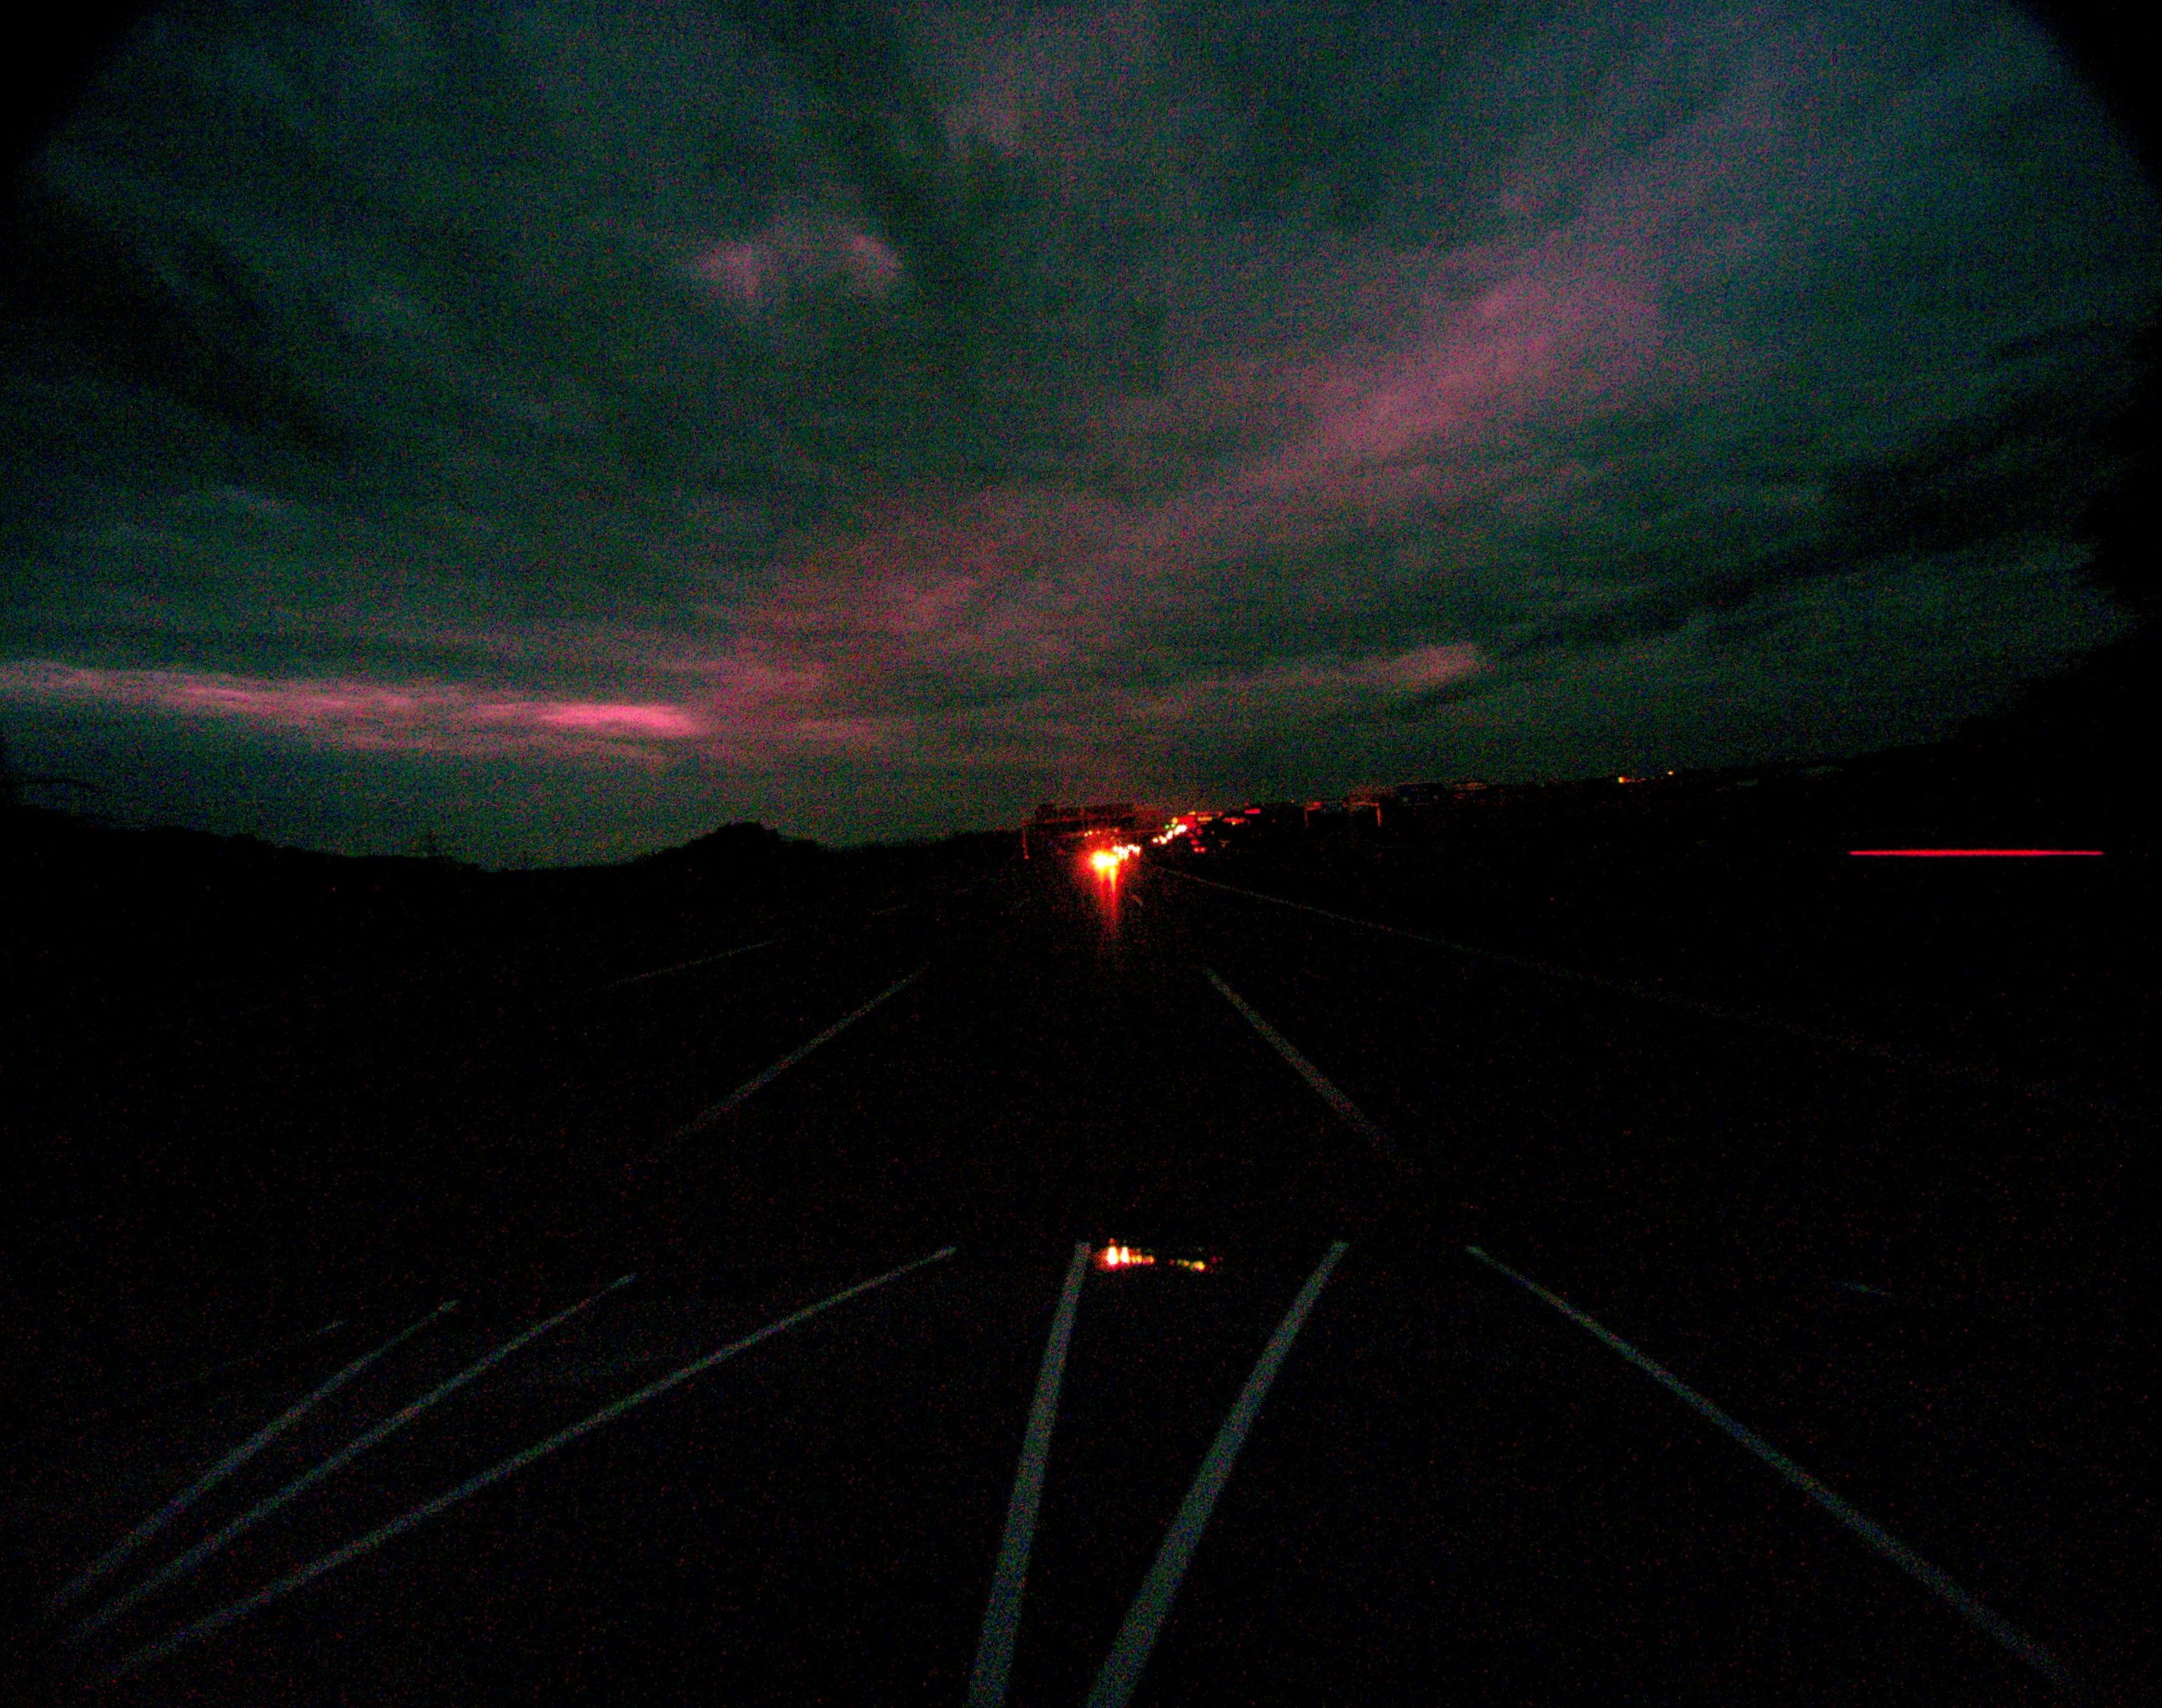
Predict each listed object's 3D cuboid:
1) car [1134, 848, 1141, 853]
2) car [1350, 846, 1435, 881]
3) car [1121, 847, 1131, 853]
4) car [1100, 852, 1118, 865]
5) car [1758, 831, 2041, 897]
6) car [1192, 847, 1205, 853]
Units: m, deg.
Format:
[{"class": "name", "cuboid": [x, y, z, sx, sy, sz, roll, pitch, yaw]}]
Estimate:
[{"class": "car", "cuboid": [19.235, -1.185, 257.410, 1.998, 1.342, 4.176, -4, 1, 7]}, {"class": "car", "cuboid": [13.931, 0.392, 34.306, 1.999, 1.395, 4.329, -2, 0, 0]}, {"class": "car", "cuboid": [11.699, -1.097, 197.019, 1.997, 1.342, 4.177, -4, 1, 10]}, {"class": "car", "cuboid": [3.236, 0.462, 86.136, 1.998, 1.342, 4.175, 0, 2, 3]}, {"class": "car", "cuboid": [17.580, 0.188, 16.684, 1.726, 1.220, 4.183, -2, 0, 1]}, {"class": "car", "cuboid": [24.987, -0.866, 161.694, 1.998, 1.350, 4.865, -2, 0, 2]}]
